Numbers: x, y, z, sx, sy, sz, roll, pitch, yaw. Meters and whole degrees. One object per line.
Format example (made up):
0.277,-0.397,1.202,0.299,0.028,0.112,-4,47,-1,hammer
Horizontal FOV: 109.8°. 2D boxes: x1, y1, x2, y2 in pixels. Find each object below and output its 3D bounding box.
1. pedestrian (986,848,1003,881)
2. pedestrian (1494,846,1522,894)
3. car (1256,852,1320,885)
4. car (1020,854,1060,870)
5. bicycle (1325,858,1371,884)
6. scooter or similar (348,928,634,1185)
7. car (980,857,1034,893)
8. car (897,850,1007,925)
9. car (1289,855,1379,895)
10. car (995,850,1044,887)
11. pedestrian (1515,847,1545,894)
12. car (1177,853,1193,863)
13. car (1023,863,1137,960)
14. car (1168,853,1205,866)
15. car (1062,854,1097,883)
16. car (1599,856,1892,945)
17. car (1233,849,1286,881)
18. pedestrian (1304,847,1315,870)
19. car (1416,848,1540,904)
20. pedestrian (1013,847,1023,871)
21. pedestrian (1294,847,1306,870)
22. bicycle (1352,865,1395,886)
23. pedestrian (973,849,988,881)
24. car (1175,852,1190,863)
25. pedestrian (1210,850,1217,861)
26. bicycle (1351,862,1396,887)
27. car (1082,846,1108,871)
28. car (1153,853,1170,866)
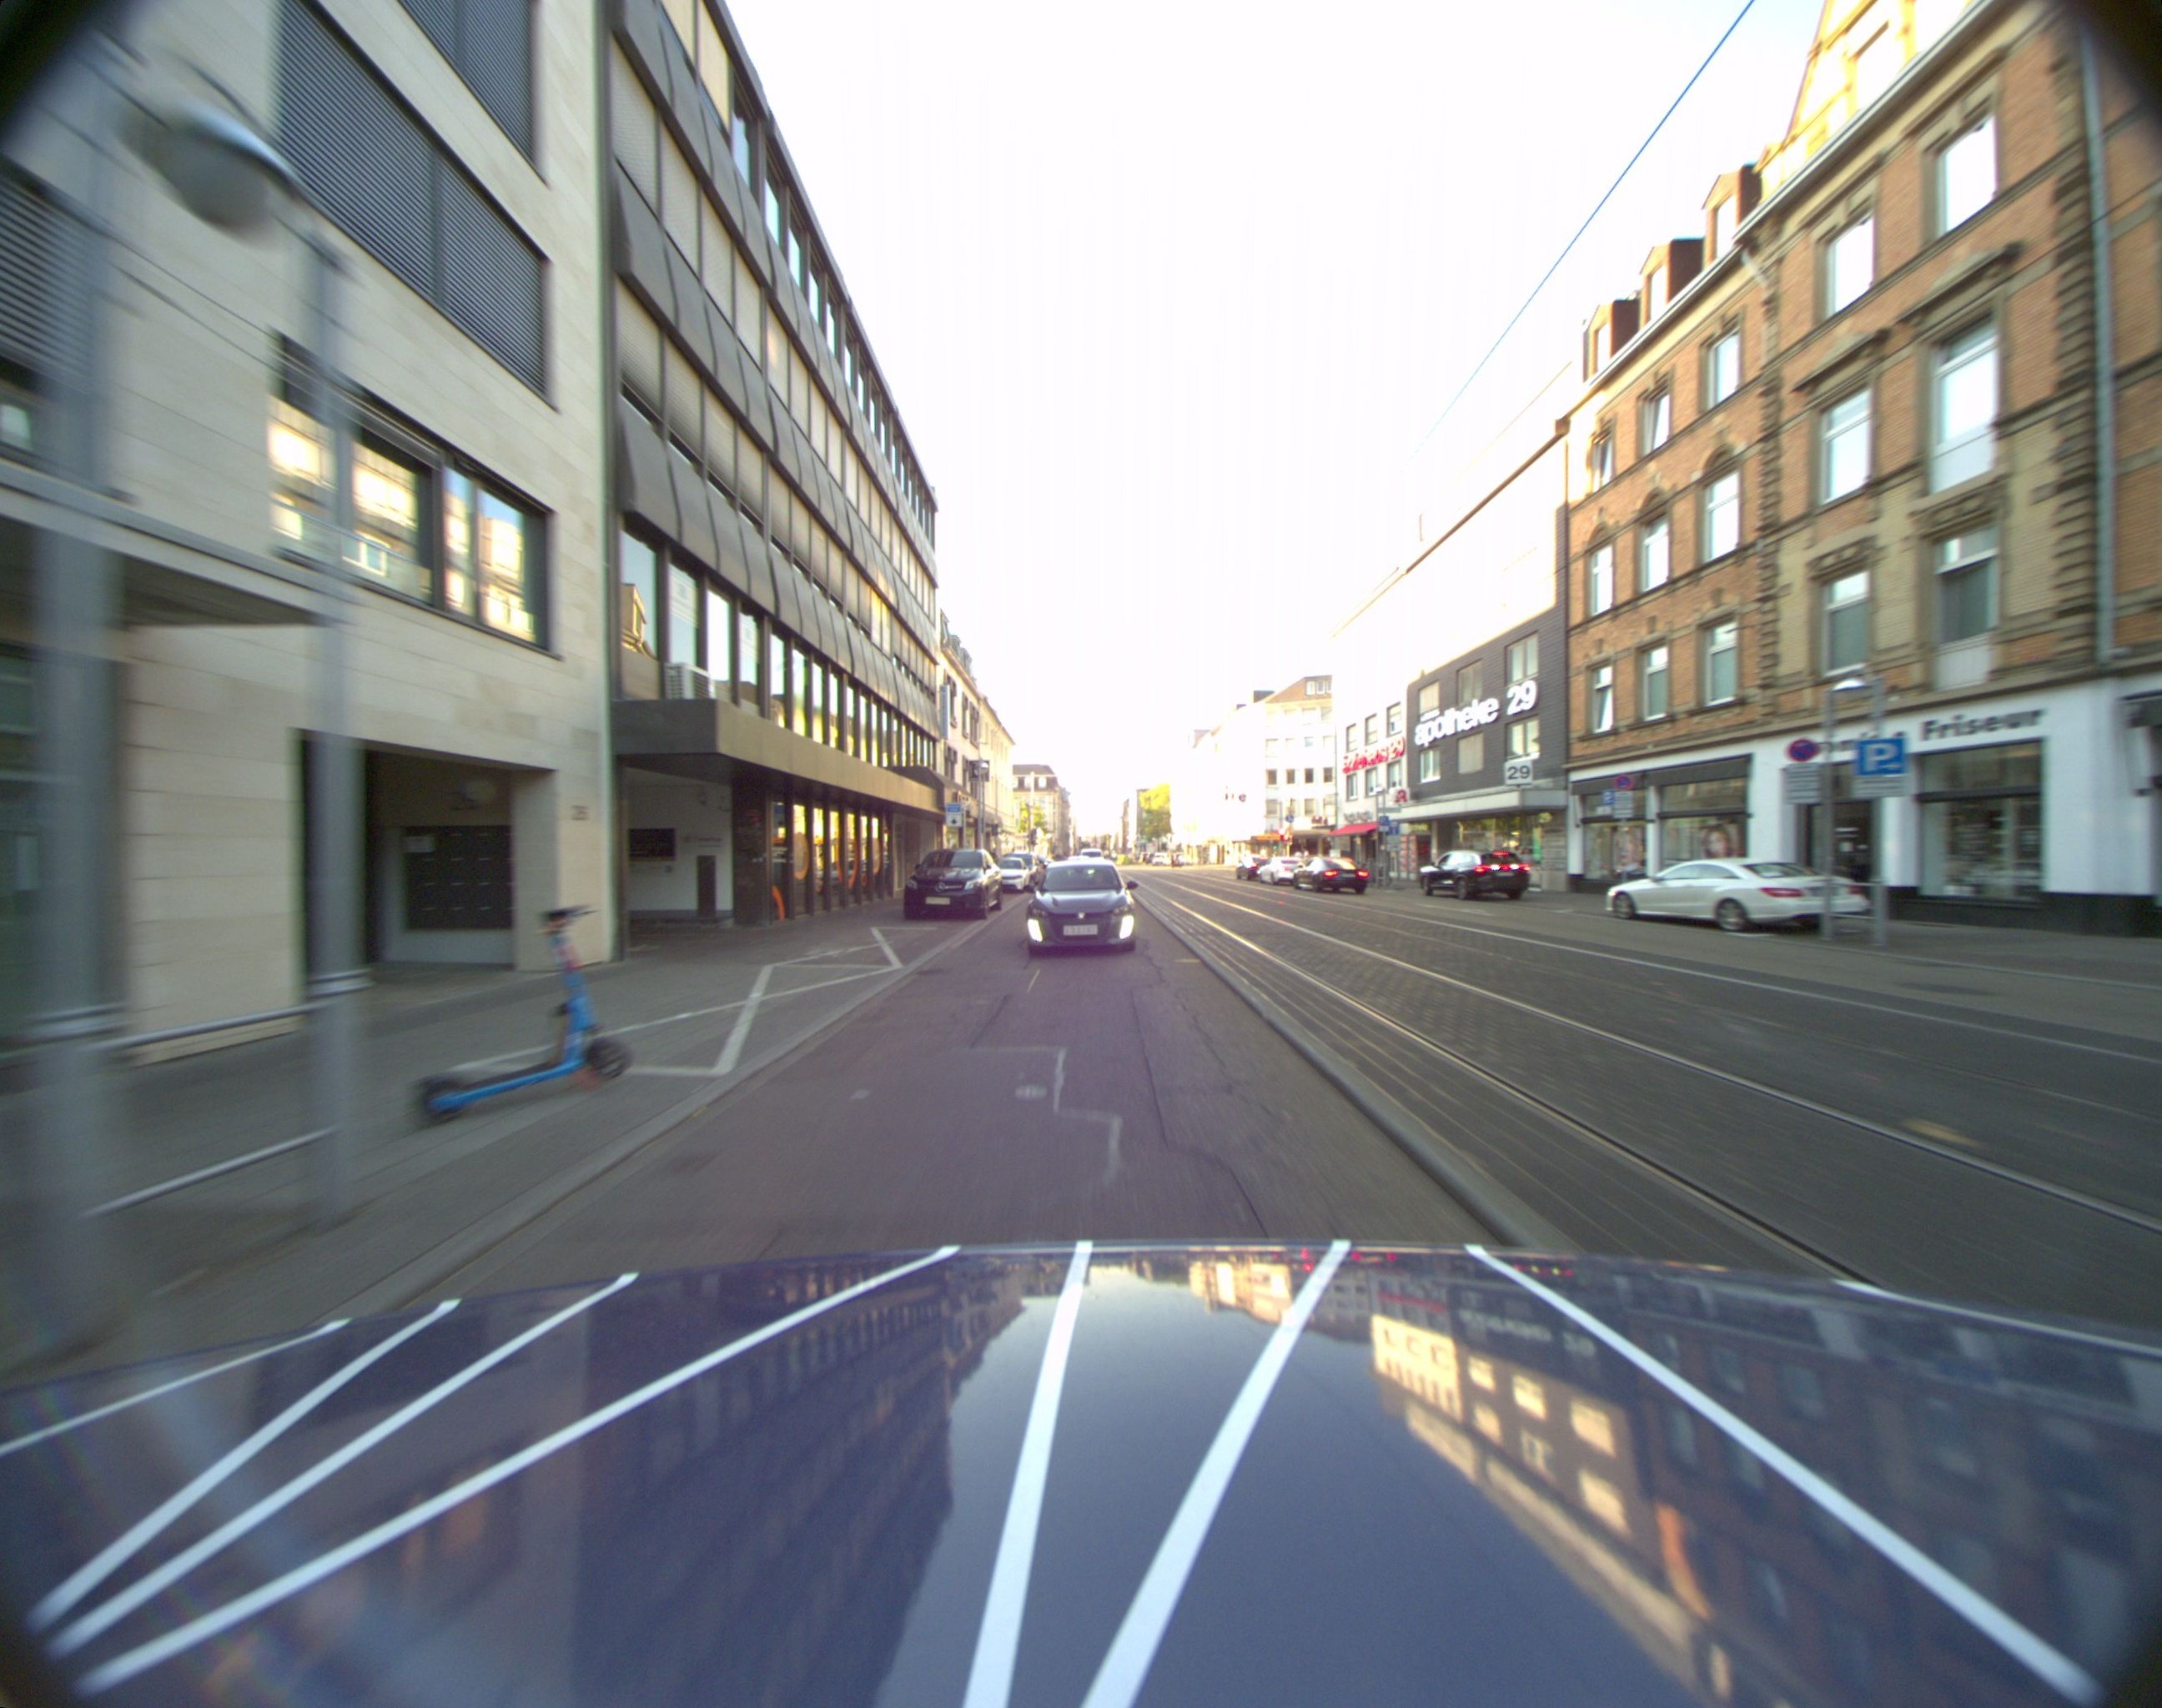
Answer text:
-4.730,0.564,41.667,0.768,1.795,0.928,1,1,2,pedestrian
15.411,0.565,27.438,0.622,1.689,0.602,-1,0,0,pedestrian
10.168,0.674,37.661,1.998,1.444,4.656,1,1,2,car
-3.842,0.725,70.742,1.686,1.463,3.736,-1,0,-44,car
13.770,0.885,39.174,2.117,1.217,0.553,-3,1,1,bicycle
-3.513,1.119,4.608,0.498,1.213,1.267,0,1,38,scooter or similar
-3.048,0.845,32.088,1.800,1.424,3.887,0,0,1,car
-3.185,0.746,19.667,1.998,1.717,4.565,0,0,1,car
9.979,0.782,30.402,1.999,1.444,4.648,1,0,0,car
-3.011,0.654,38.120,1.998,1.717,4.576,1,0,1,car
16.111,0.583,27.290,0.684,1.651,0.624,-1,0,0,pedestrian
13.432,0.526,98.620,1.636,1.246,3.389,-3,-1,1,car
-0.049,0.933,14.029,1.751,1.434,3.905,-2,0,-1,car
10.790,0.515,77.603,3.490,1.326,1.597,0,0,-8,car
-0.074,0.768,41.942,1.827,1.463,3.985,-1,0,1,car
13.302,0.826,15.711,1.874,1.444,4.608,-3,1,-3,car
10.209,0.588,43.781,1.998,1.717,4.728,1,0,2,car
17.779,0.345,59.087,0.638,1.768,0.600,-1,1,-3,pedestrian
13.211,0.663,25.656,1.935,1.664,4.647,-2,0,3,car
-4.919,0.380,59.508,0.663,1.916,0.879,1,1,-1,pedestrian
16.974,0.345,58.938,0.638,1.734,0.668,-1,1,-5,pedestrian
13.730,1.012,35.728,1.809,0.907,0.456,-3,-1,1,bicycle
-5.455,0.594,41.252,0.651,1.708,0.678,2,1,2,pedestrian
13.794,0.509,103.375,1.636,1.345,3.389,-3,0,1,car
17.030,0.187,97.877,0.544,1.463,0.624,-4,0,-15,pedestrian
13.485,0.951,34.996,1.835,1.041,0.489,-3,-1,1,bicycle
1.078,0.312,56.428,1.827,1.787,4.285,-1,0,2,car
9.621,0.651,90.737,1.717,1.463,3.988,1,0,10,car
